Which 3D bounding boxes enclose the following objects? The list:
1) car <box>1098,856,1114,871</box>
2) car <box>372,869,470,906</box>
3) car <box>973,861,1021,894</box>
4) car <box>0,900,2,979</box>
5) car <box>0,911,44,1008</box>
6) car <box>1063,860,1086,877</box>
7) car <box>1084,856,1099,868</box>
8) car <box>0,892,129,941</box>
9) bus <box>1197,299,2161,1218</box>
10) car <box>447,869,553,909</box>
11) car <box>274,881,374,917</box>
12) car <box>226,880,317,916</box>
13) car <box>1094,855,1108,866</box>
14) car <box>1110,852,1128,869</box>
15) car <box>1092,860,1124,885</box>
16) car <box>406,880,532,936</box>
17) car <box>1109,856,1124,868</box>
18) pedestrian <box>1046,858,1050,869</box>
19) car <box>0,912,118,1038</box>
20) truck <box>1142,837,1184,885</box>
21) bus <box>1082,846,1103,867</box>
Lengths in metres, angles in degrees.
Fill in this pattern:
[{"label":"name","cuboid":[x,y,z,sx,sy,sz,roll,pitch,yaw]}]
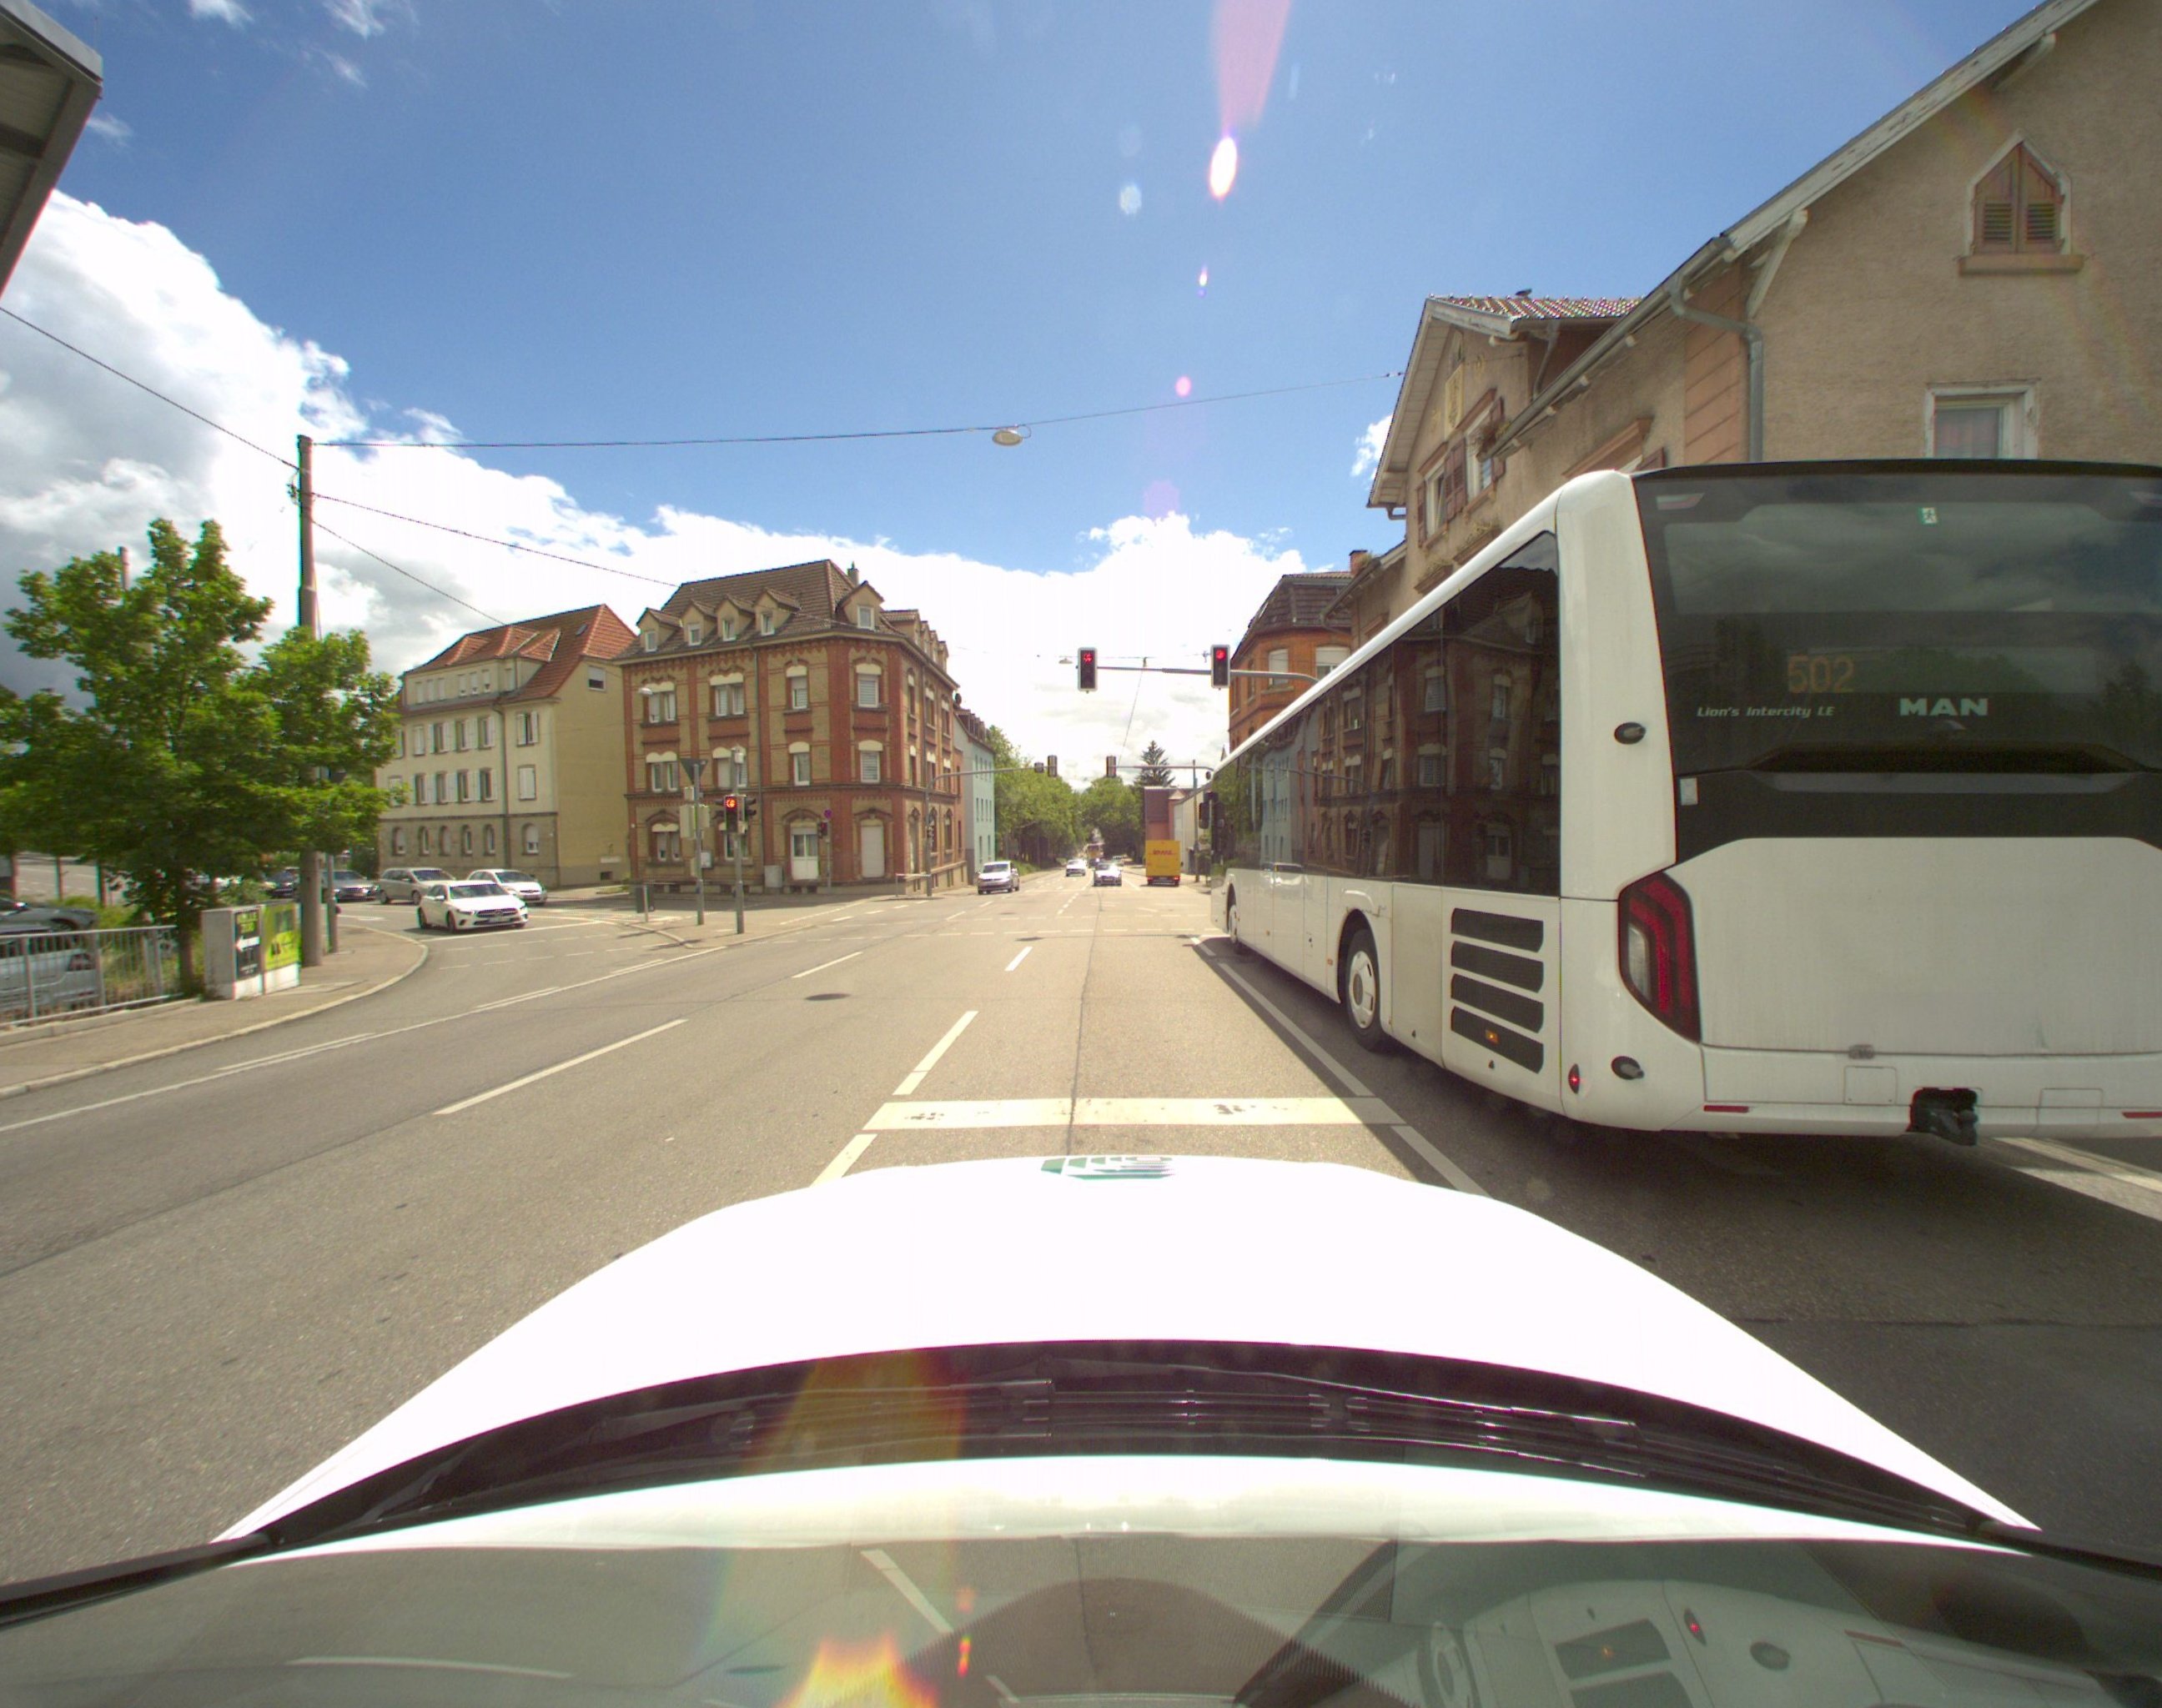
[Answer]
[{"label":"car","cuboid":[3.032,1.170,99.538,1.812,1.784,4.002,-2,0,2]},{"label":"car","cuboid":[-29.208,1.470,36.052,3.951,1.519,1.757,-1,0,24]},{"label":"car","cuboid":[-4.416,1.213,43.577,1.928,1.563,4.390,-2,0,2]},{"label":"car","cuboid":[-23.404,1.735,16.436,3.371,1.575,1.526,-1,0,30]},{"label":"car","cuboid":[-19.711,1.832,14.156,3.744,1.523,1.526,-1,0,30]},{"label":"car","cuboid":[-0.662,1.486,84.427,2.199,1.613,4.549,-2,0,2]},{"label":"car","cuboid":[1.616,1.245,125.821,2.086,1.830,4.140,-1,0,-1]},{"label":"car","cuboid":[-29.253,1.730,22.218,1.795,1.186,4.025,-1,0,31]},{"label":"bus","cuboid":[3.493,-0.321,9.361,2.893,3.510,12.492,0,-1,2]},{"label":"car","cuboid":[-23.600,1.392,33.065,3.951,1.497,1.711,-1,0,24]},{"label":"car","cuboid":[-35.453,2.078,38.144,3.951,1.519,2.011,-1,0,24]},{"label":"car","cuboid":[-40.118,2.132,40.349,4.291,1.586,2.012,-1,0,29]},{"label":"car","cuboid":[2.743,0.850,112.186,1.858,1.367,4.549,-2,0,2]},{"label":"car","cuboid":[4.677,0.813,99.924,1.987,2.013,3.999,-2,0,0]},{"label":"car","cuboid":[1.656,1.109,50.515,1.858,1.367,4.549,-2,0,2]},{"label":"car","cuboid":[-18.245,1.541,24.220,4.334,1.447,1.875,-2,0,37]},{"label":"car","cuboid":[5.627,1.254,129.639,2.086,1.830,4.140,-1,0,-1]},{"label":"pedestrian","cuboid":[-5.610,1.644,136.905,0.604,1.758,0.653,-2,0,0]},{"label":"car","cuboid":[-16.116,1.740,12.187,3.638,1.575,1.766,-1,-2,34]},{"label":"truck","cuboid":[5.345,0.476,53.197,2.529,2.913,6.582,0,-1,5]},{"label":"bus","cuboid":[2.099,0.405,151.839,3.292,3.631,11.233,-2,0,-2]}]
